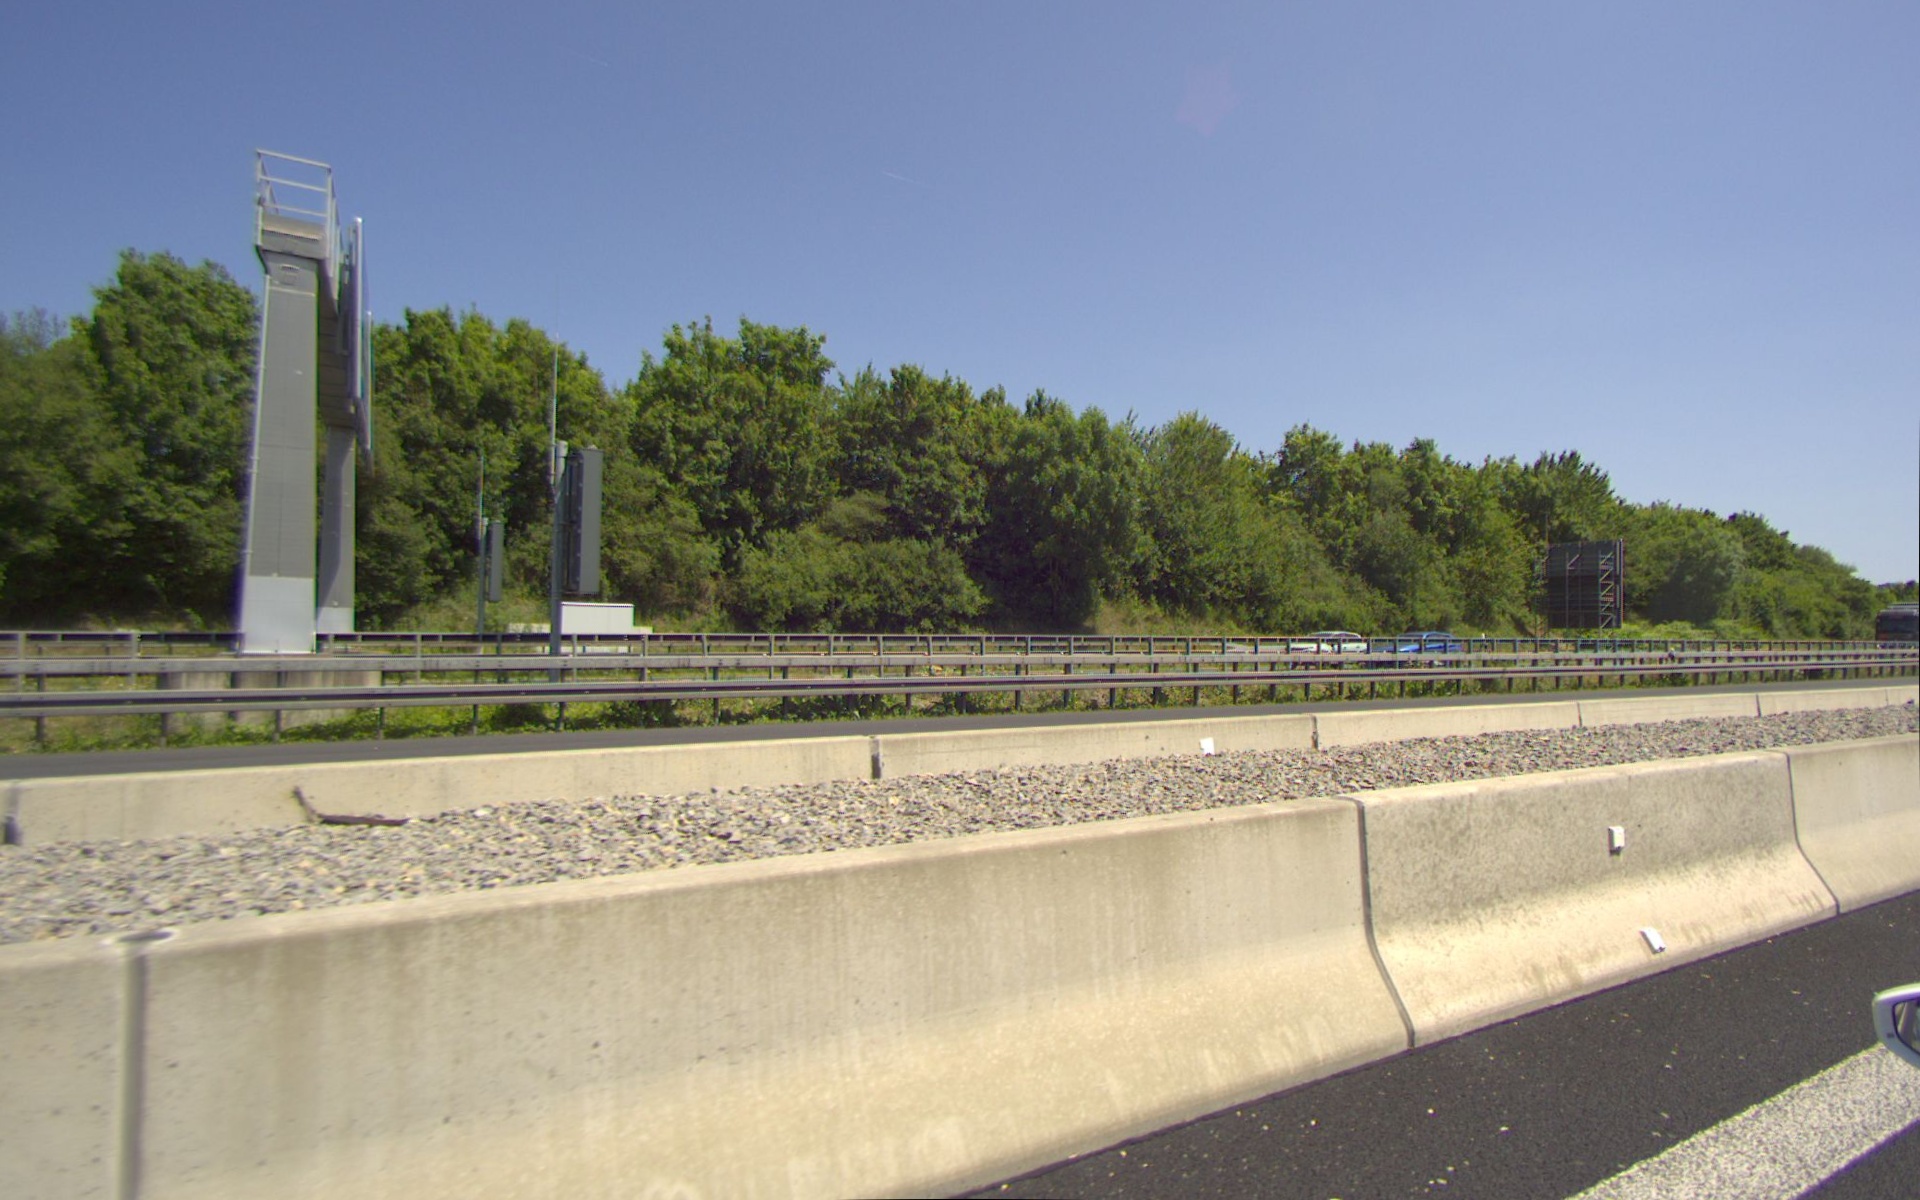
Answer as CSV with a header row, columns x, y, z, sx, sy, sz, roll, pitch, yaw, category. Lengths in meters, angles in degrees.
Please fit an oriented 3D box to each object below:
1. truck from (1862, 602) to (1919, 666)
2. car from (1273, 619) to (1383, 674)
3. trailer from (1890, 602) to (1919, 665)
x,y,z,sx,sy,sz,roll,pitch,yaw,category
66.784,2.407,71.170,4.940,4.329,2.796,2,0,-30,truck
14.625,1.832,39.888,3.953,2.040,1.984,2,0,-30,car
73.900,2.595,75.358,11.517,4.492,2.781,2,0,-30,trailer
